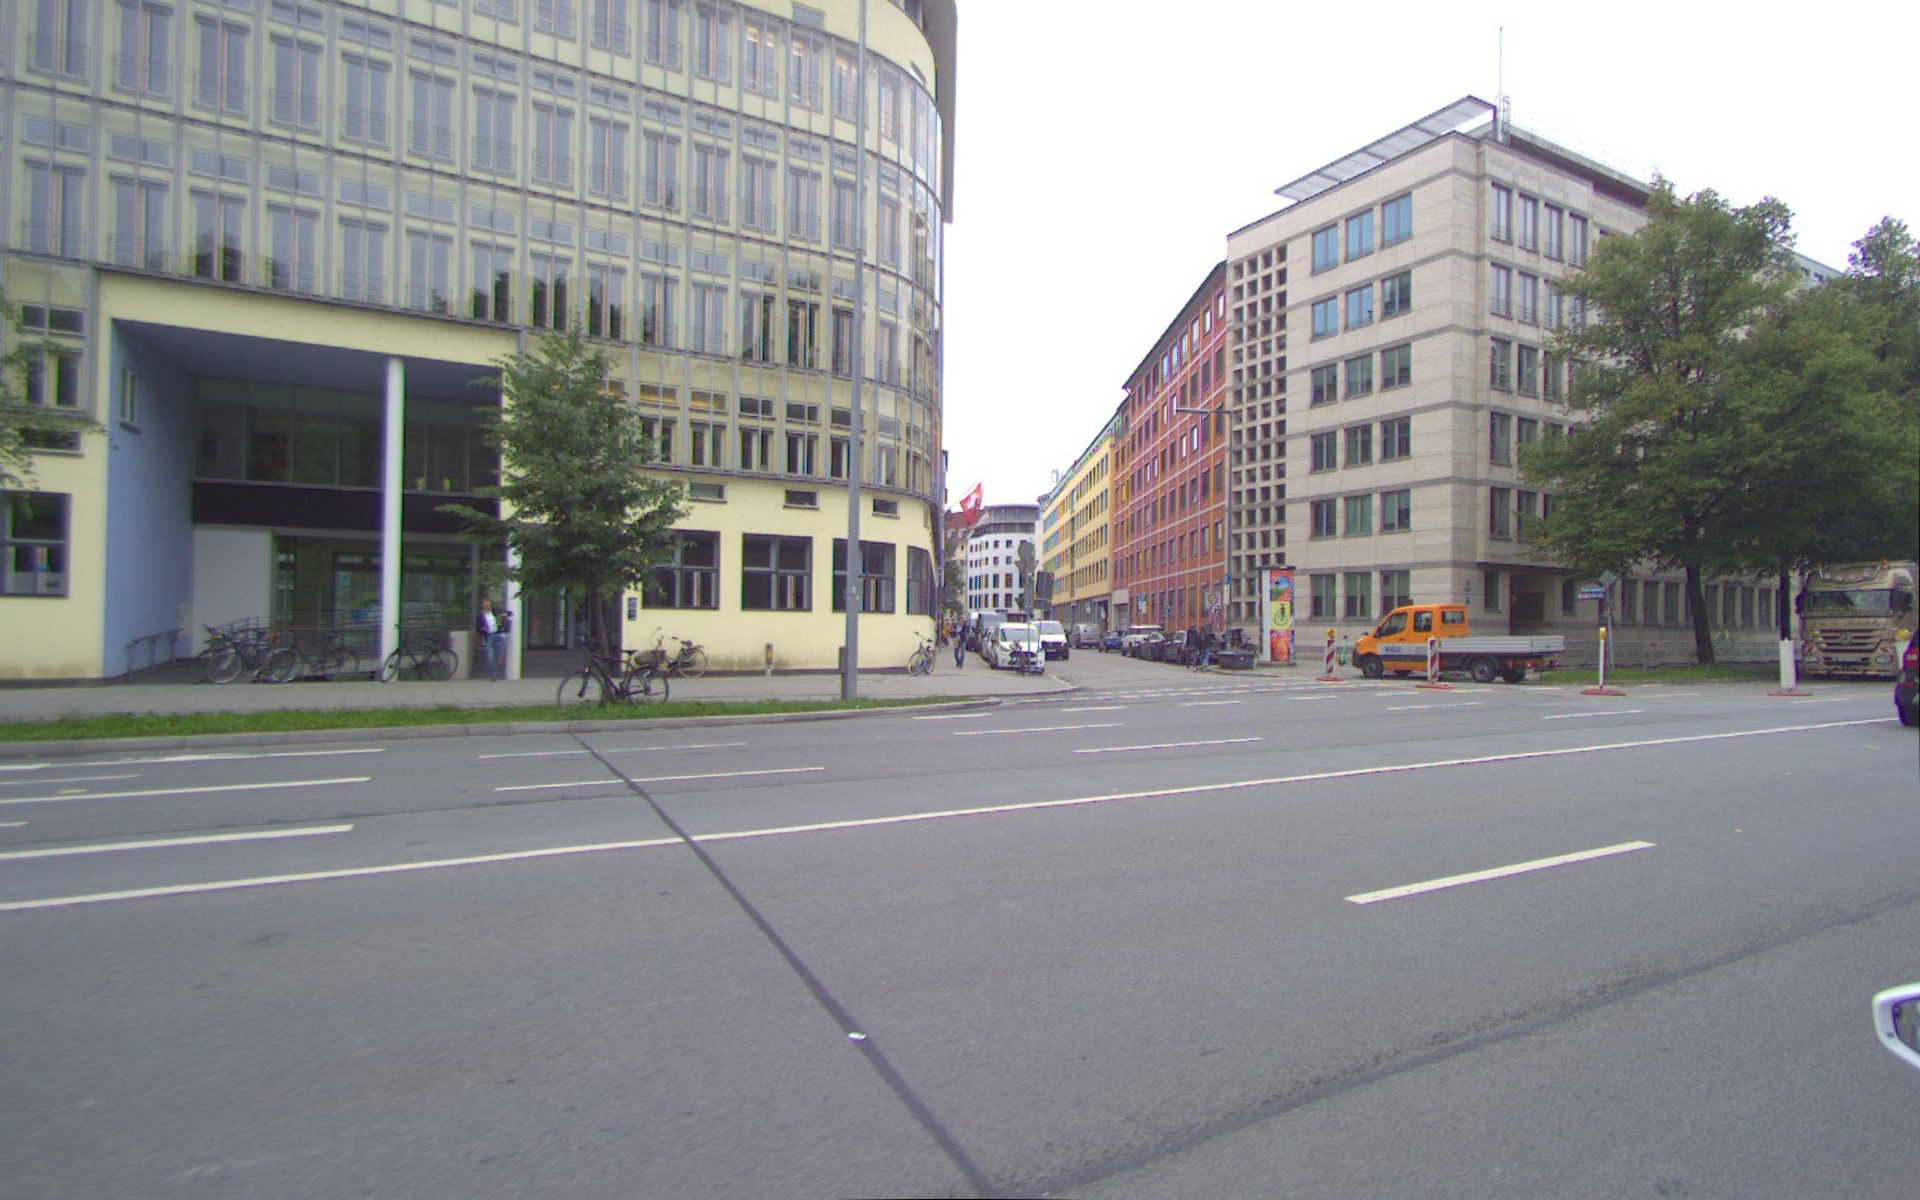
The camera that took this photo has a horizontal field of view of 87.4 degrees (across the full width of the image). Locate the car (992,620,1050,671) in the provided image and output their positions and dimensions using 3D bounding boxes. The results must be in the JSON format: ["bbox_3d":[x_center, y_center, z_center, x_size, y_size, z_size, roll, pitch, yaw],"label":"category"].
[{"bbox_3d":[2.227,1.666,37.643,1.833,1.773,4.329,0,-2,-1],"label":"car"}]

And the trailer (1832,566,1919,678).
[{"bbox_3d":[36.707,0.881,37.877,11.650,3.790,2.931,2,0,-35],"label":"trailer"}]

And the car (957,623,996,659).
[{"bbox_3d":[0.809,2.062,50.992,1.833,1.773,4.000,1,-2,-1],"label":"car"}]

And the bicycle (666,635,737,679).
[{"bbox_3d":[-6.267,1.377,24.378,1.577,1.026,0.569,2,0,-33],"label":"bicycle"}]

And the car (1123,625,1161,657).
[{"bbox_3d":[10.015,2.260,55.532,1.460,1.686,3.183,1,-2,-1],"label":"car"}]

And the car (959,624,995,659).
[{"bbox_3d":[0.750,1.864,45.810,1.460,1.517,3.965,1,-2,-1],"label":"car"}]

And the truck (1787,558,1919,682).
[{"bbox_3d":[31.447,0.692,34.285,7.586,3.825,2.898,2,0,-34],"label":"truck"}]

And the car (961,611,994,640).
[{"bbox_3d":[1.089,1.636,64.853,1.834,1.773,3.999,1,-2,-3],"label":"car"}]

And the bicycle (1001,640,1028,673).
[{"bbox_3d":[1.808,1.855,33.161,0.574,1.034,1.847,0,-2,12],"label":"bicycle"}]

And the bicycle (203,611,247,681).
[{"bbox_3d":[-15.128,0.925,20.700,0.632,1.336,1.995,1,0,-34],"label":"bicycle"}]

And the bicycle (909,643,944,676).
[{"bbox_3d":[-0.946,1.686,28.830,0.574,0.889,1.738,0,-2,12],"label":"bicycle"}]

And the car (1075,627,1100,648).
[{"bbox_3d":[9.799,2.878,77.361,1.460,1.612,3.183,1,-2,-1],"label":"car"}]

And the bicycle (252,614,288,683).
[{"bbox_3d":[-14.382,0.981,20.952,0.569,1.336,1.995,1,0,-34],"label":"bicycle"}]

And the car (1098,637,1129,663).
[{"bbox_3d":[10.063,3.262,66.111,1.460,1.612,3.183,1,-2,-1],"label":"car"}]

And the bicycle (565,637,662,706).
[{"bbox_3d":[-5.347,1.096,15.536,1.370,1.026,0.279,2,0,-34],"label":"bicycle"}]

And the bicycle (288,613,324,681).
[{"bbox_3d":[-13.881,0.972,21.301,0.569,1.336,1.995,1,0,-34],"label":"bicycle"}]

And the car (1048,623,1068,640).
[{"bbox_3d":[9.305,3.010,95.462,1.460,1.612,3.183,1,-2,-1],"label":"car"}]

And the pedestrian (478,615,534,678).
[{"bbox_3d":[-10.144,1.032,22.441,1.073,1.382,0.834,1,-2,-30],"label":"pedestrian"}]

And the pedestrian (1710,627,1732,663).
[{"bbox_3d":[37.692,2.229,49.734,0.755,1.755,0.576,1,0,-29],"label":"pedestrian"}]

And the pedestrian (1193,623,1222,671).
[{"bbox_3d":[9.418,1.789,38.265,0.773,1.798,0.680,1,0,-25],"label":"pedestrian"}]

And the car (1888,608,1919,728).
[{"bbox_3d":[15.399,0.999,14.583,4.155,1.658,1.714,2,-2,-30],"label":"car"}]

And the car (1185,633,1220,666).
[{"bbox_3d":[10.918,2.200,45.344,1.441,1.393,3.241,0,-2,12],"label":"car"}]

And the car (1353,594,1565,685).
[{"bbox_3d":[15.294,1.181,31.176,2.133,2.570,5.648,1,-2,-33],"label":"car"}]

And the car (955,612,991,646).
[{"bbox_3d":[0.711,1.619,56.084,1.833,1.773,4.000,1,-2,-1],"label":"car"}]

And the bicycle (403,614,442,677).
[{"bbox_3d":[-12.209,1.005,22.791,0.569,1.336,1.995,1,0,-34],"label":"bicycle"}]

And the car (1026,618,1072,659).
[{"bbox_3d":[4.427,1.918,50.570,1.718,1.935,5.072,0,-2,-1],"label":"car"}]

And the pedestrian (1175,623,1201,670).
[{"bbox_3d":[8.807,1.785,38.747,0.665,1.798,0.680,1,0,-25],"label":"pedestrian"}]

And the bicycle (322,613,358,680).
[{"bbox_3d":[-13.376,0.979,21.652,0.569,1.336,1.995,1,0,-34],"label":"bicycle"}]

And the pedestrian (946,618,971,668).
[{"bbox_3d":[-0.047,1.523,35.967,0.798,1.756,0.995,1,0,1],"label":"pedestrian"}]
